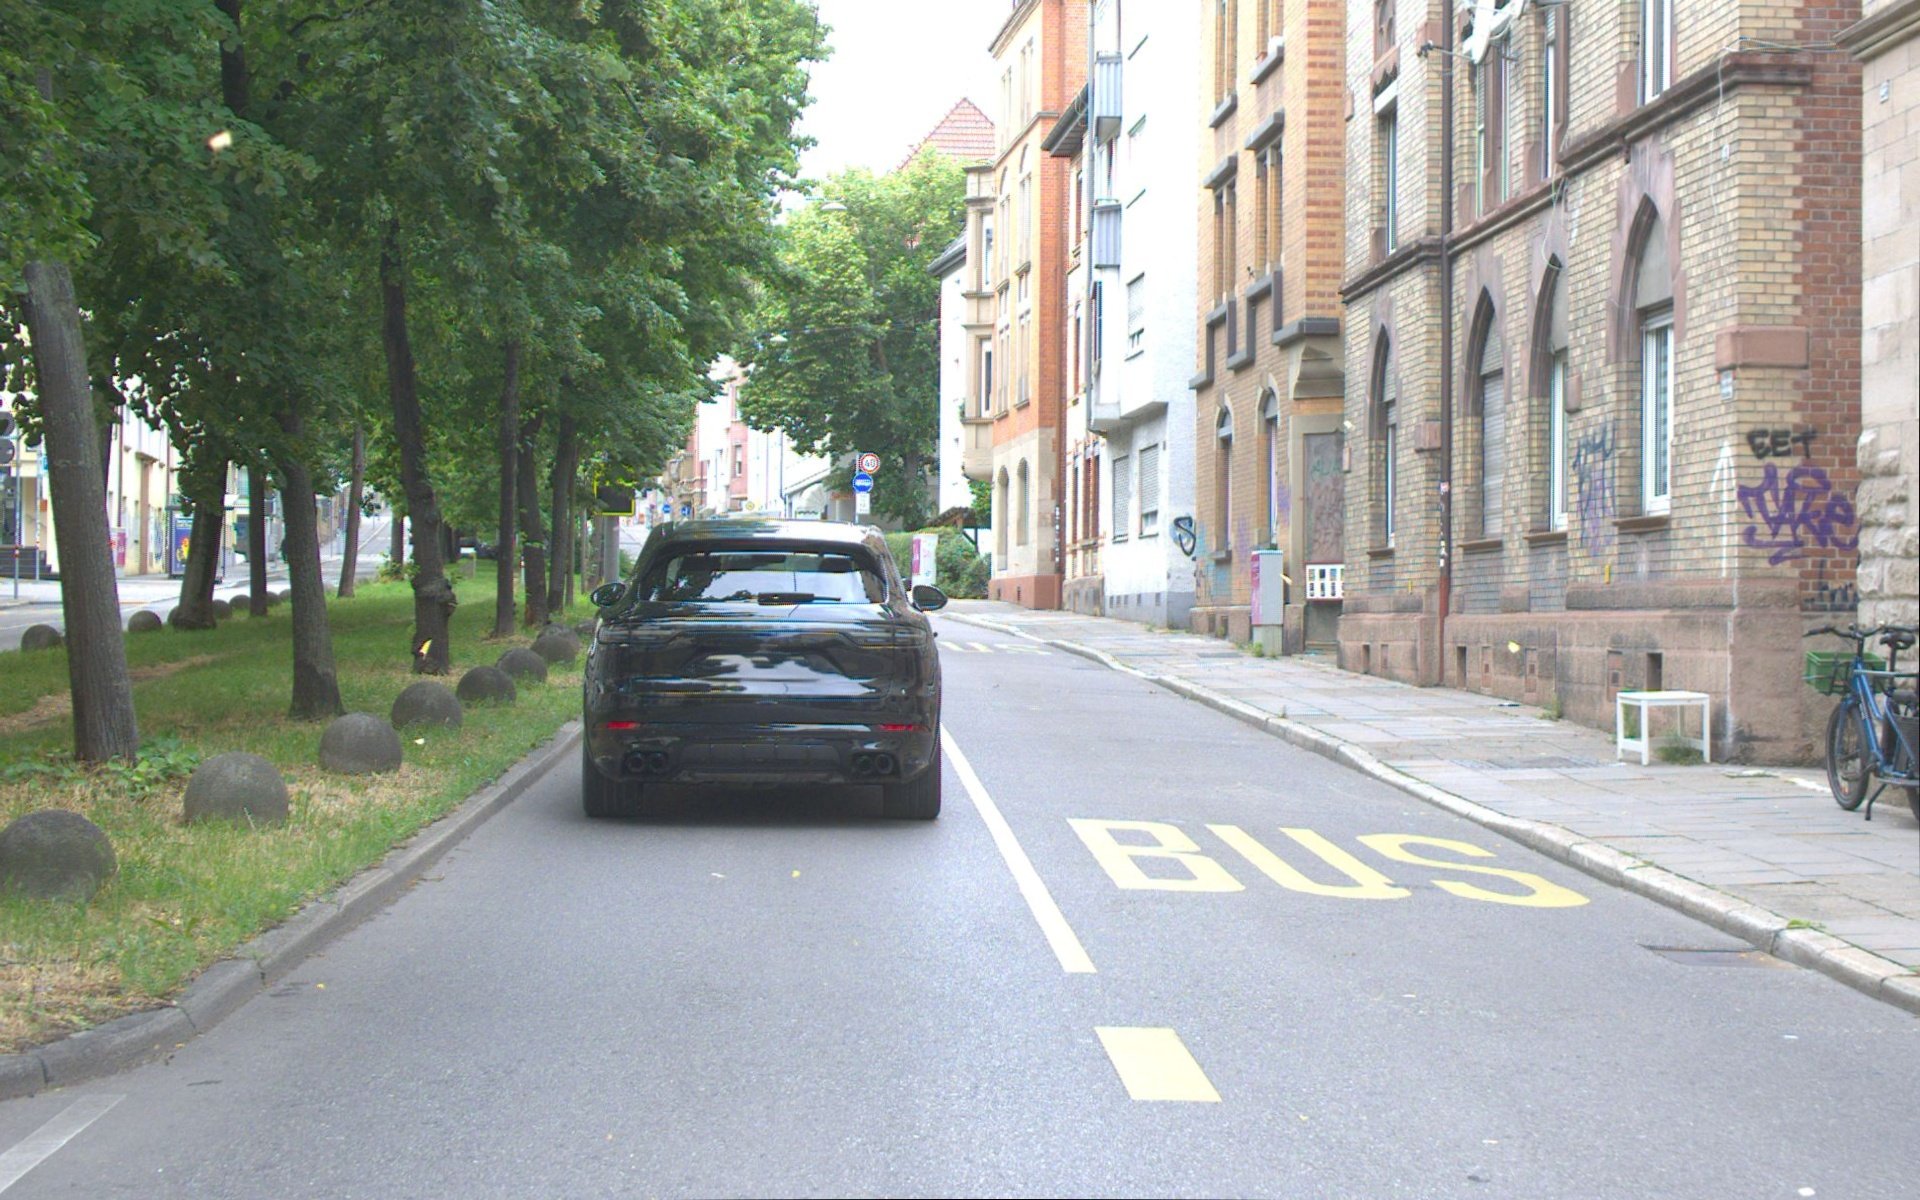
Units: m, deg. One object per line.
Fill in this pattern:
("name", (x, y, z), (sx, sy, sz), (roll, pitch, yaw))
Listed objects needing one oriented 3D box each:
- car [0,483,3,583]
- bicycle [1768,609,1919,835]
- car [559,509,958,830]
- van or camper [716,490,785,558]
("car", (-28.542, -1.882, 92.707), (5.171, 2.727, 2.178), (2, 0, -15))
("bicycle", (5.181, 0.644, 19.217), (0.681, 1.145, 2.483), (1, 1, -1))
("car", (-1.287, 0.346, 20.054), (1.903, 1.660, 4.137), (1, 1, -9))
("van or camper", (-9.012, -3.234, 147.130), (2.479, 2.793, 7.240), (1, 1, -7))
